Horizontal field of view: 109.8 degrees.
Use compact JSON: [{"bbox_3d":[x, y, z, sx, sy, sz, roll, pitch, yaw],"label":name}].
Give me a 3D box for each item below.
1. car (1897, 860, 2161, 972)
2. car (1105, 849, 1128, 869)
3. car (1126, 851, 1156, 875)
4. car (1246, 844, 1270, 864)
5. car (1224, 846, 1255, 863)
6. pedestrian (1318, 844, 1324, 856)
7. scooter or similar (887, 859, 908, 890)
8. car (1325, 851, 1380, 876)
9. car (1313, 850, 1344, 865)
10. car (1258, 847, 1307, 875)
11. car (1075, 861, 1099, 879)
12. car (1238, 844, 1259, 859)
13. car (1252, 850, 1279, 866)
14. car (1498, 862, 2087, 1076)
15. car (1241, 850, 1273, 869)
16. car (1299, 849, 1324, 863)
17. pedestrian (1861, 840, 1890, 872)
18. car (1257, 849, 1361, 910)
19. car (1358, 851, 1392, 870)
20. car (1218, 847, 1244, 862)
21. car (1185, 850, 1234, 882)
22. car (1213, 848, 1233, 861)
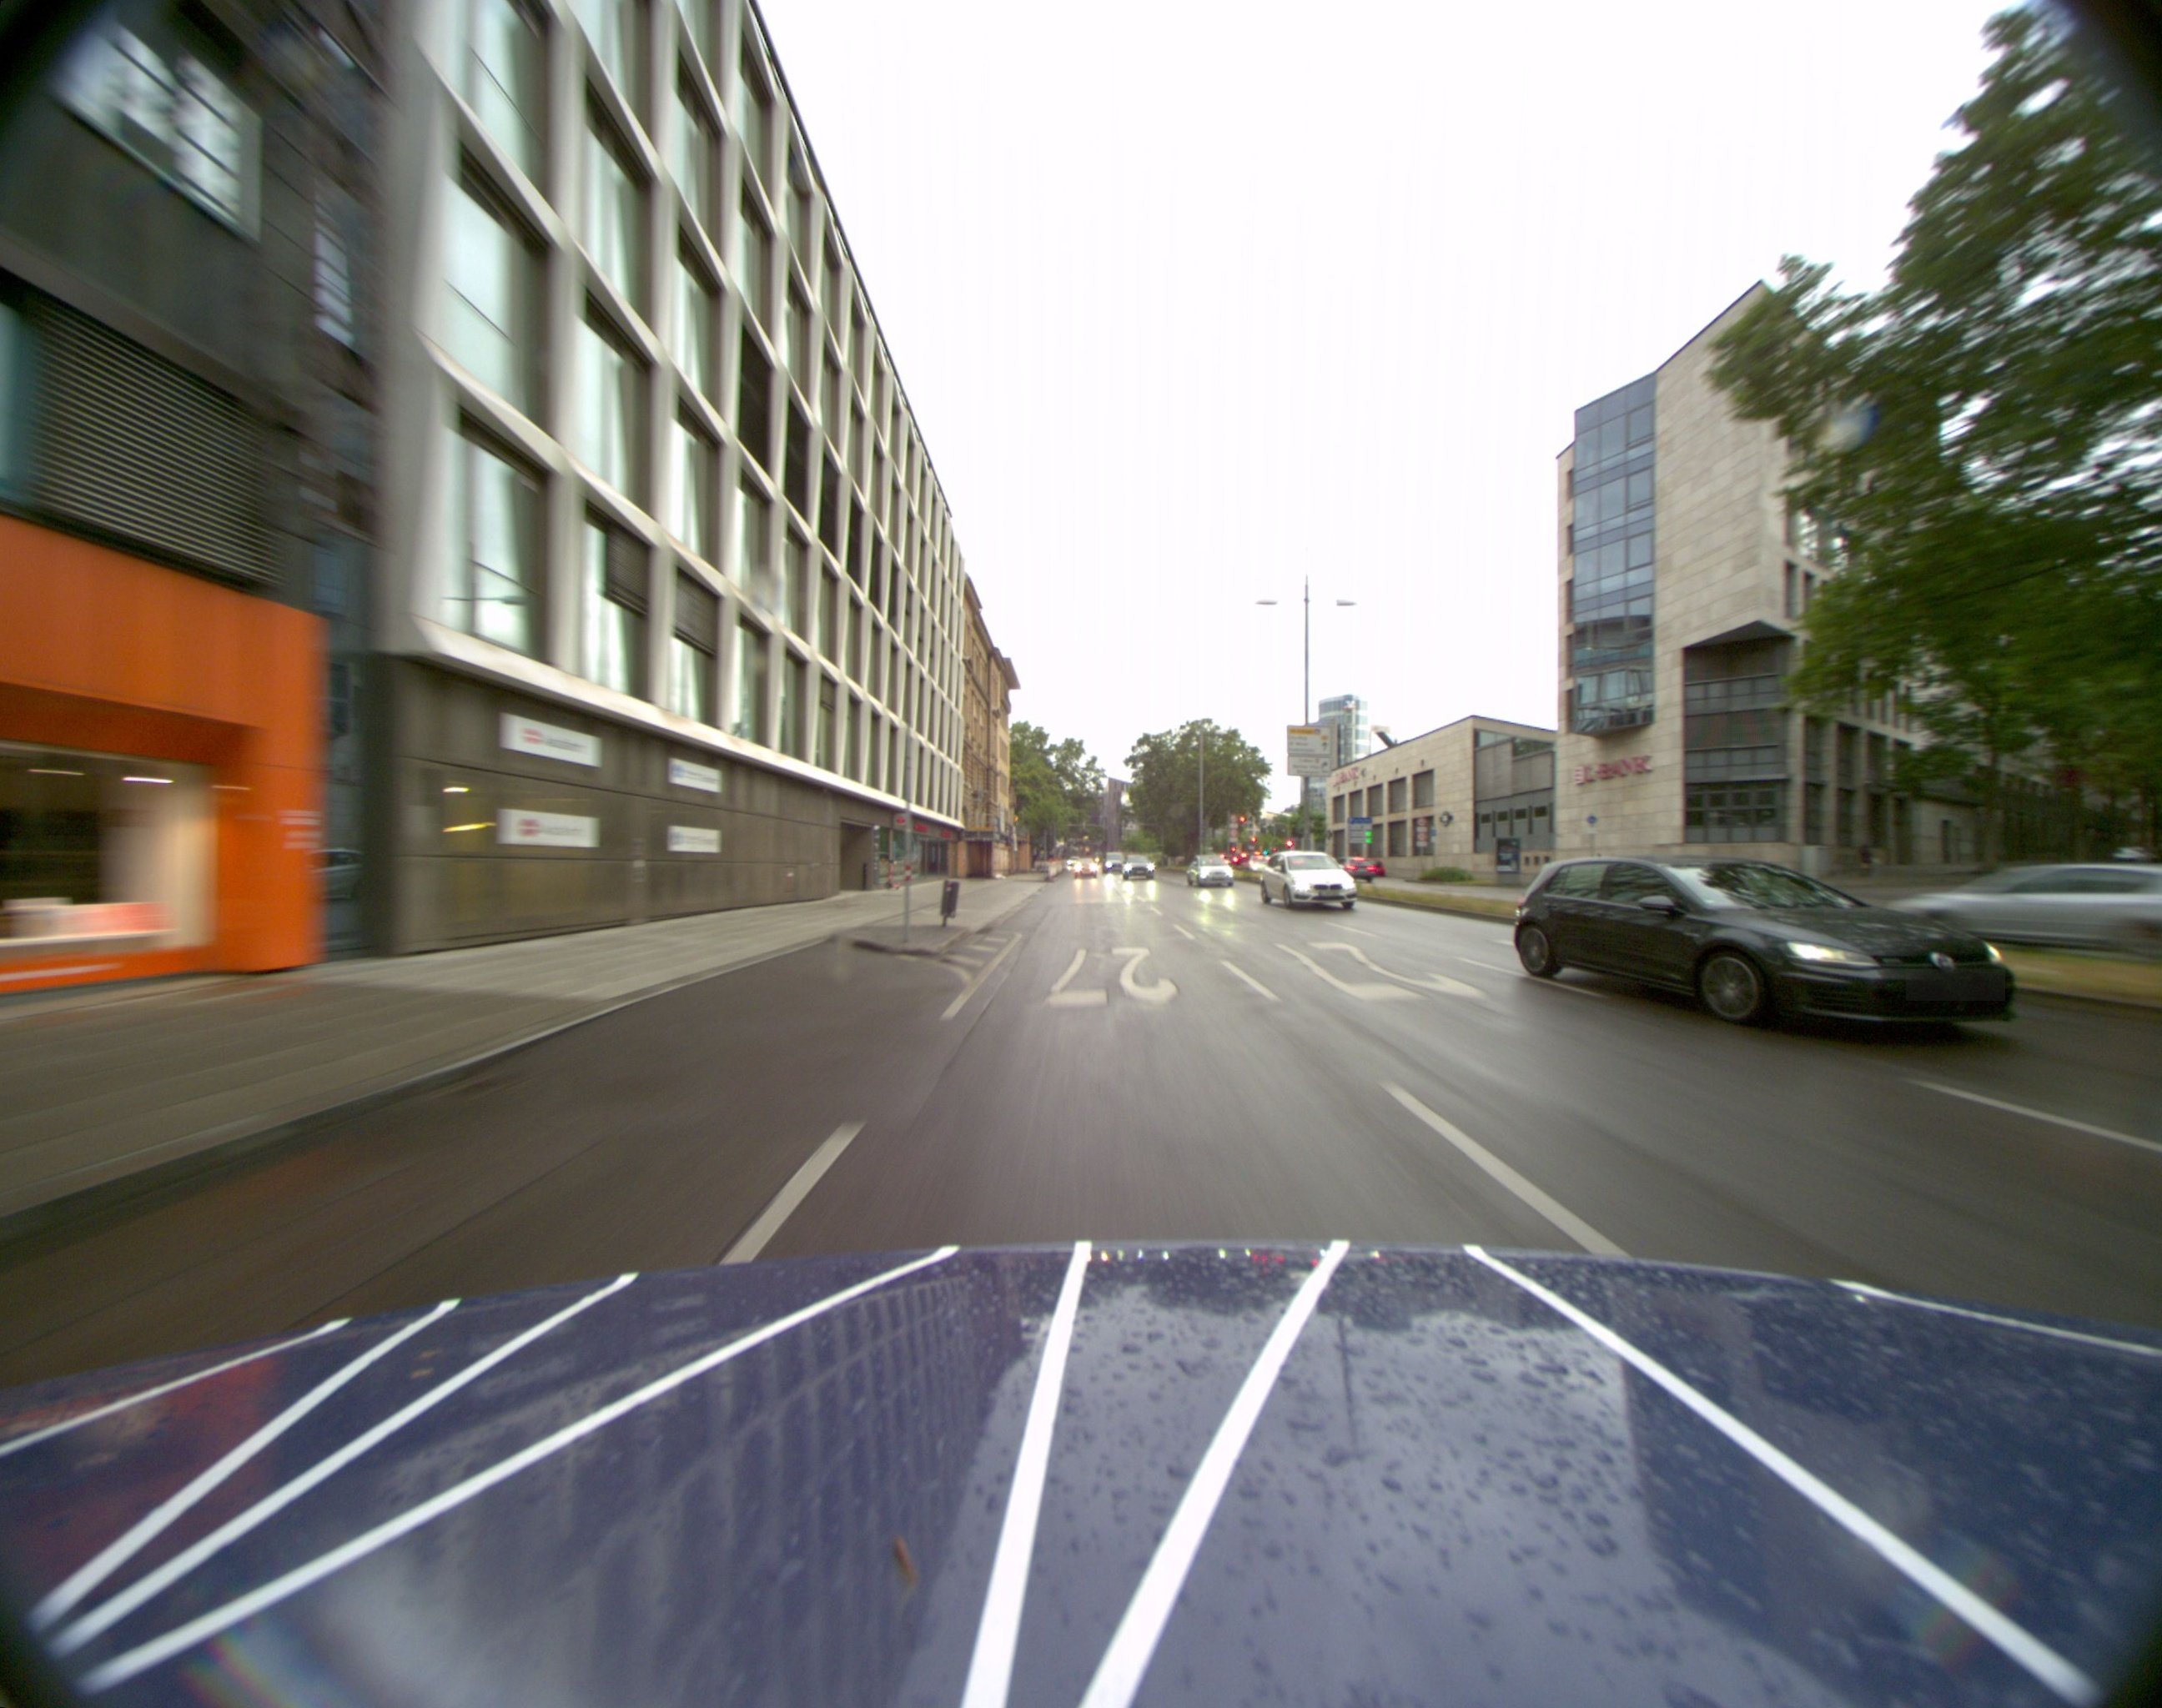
[{"bbox_3d":[15.355,0.879,11.416,1.666,1.455,4.080,2,0,-2],"label":"car"},{"bbox_3d":[3.145,0.446,68.099,1.998,1.733,3.910,0,0,2],"label":"car"},{"bbox_3d":[3.922,0.565,49.906,1.716,1.433,3.494,1,0,1],"label":"car"},{"bbox_3d":[18.605,-0.045,80.037,1.835,1.990,5.105,0,1,5],"label":"car"},{"bbox_3d":[13.578,0.019,65.350,1.704,1.429,4.582,0,1,1],"label":"car"},{"bbox_3d":[37.139,-0.632,117.675,0.589,1.913,1.125,-1,0,0],"label":"pedestrian"},{"bbox_3d":[-7.650,0.845,31.779,0.412,1.229,1.190,0,0,9],"label":"scooter or similar"},{"bbox_3d":[16.496,0.532,46.347,1.695,1.430,4.758,0,1,1],"label":"car"},{"bbox_3d":[23.483,0.315,72.277,1.751,1.407,4.706,0,1,5],"label":"car"},{"bbox_3d":[12.834,0.427,48.652,1.878,1.670,4.680,0,1,0],"label":"car"},{"bbox_3d":[0.429,1.153,55.695,1.716,1.274,3.494,1,0,0],"label":"car"},{"bbox_3d":[19.142,-0.267,86.943,1.835,1.630,4.092,0,1,5],"label":"car"},{"bbox_3d":[17.689,0.392,72.963,1.730,1.424,4.396,0,1,4],"label":"car"},{"bbox_3d":[6.178,0.831,7.431,1.789,1.444,4.122,0,0,-3],"label":"car"},{"bbox_3d":[13.273,0.374,57.542,1.600,1.352,4.117,0,1,3],"label":"car"},{"bbox_3d":[24.009,0.203,79.289,1.751,1.407,4.295,0,1,6],"label":"car"},{"bbox_3d":[39.709,0.111,37.984,0.669,1.561,0.820,0,-1,-21],"label":"pedestrian"},{"bbox_3d":[6.419,0.656,21.814,1.781,1.587,3.999,0,1,0],"label":"car"},{"bbox_3d":[22.891,0.483,59.243,1.595,1.407,3.402,0,1,5],"label":"car"},{"bbox_3d":[14.399,0.059,73.164,1.864,1.433,4.314,0,0,4],"label":"car"},{"bbox_3d":[6.253,0.553,37.226,1.612,1.433,3.493,-3,0,-3],"label":"car"},{"bbox_3d":[15.150,0.056,81.388,1.751,1.357,3.945,0,1,6],"label":"car"}]
